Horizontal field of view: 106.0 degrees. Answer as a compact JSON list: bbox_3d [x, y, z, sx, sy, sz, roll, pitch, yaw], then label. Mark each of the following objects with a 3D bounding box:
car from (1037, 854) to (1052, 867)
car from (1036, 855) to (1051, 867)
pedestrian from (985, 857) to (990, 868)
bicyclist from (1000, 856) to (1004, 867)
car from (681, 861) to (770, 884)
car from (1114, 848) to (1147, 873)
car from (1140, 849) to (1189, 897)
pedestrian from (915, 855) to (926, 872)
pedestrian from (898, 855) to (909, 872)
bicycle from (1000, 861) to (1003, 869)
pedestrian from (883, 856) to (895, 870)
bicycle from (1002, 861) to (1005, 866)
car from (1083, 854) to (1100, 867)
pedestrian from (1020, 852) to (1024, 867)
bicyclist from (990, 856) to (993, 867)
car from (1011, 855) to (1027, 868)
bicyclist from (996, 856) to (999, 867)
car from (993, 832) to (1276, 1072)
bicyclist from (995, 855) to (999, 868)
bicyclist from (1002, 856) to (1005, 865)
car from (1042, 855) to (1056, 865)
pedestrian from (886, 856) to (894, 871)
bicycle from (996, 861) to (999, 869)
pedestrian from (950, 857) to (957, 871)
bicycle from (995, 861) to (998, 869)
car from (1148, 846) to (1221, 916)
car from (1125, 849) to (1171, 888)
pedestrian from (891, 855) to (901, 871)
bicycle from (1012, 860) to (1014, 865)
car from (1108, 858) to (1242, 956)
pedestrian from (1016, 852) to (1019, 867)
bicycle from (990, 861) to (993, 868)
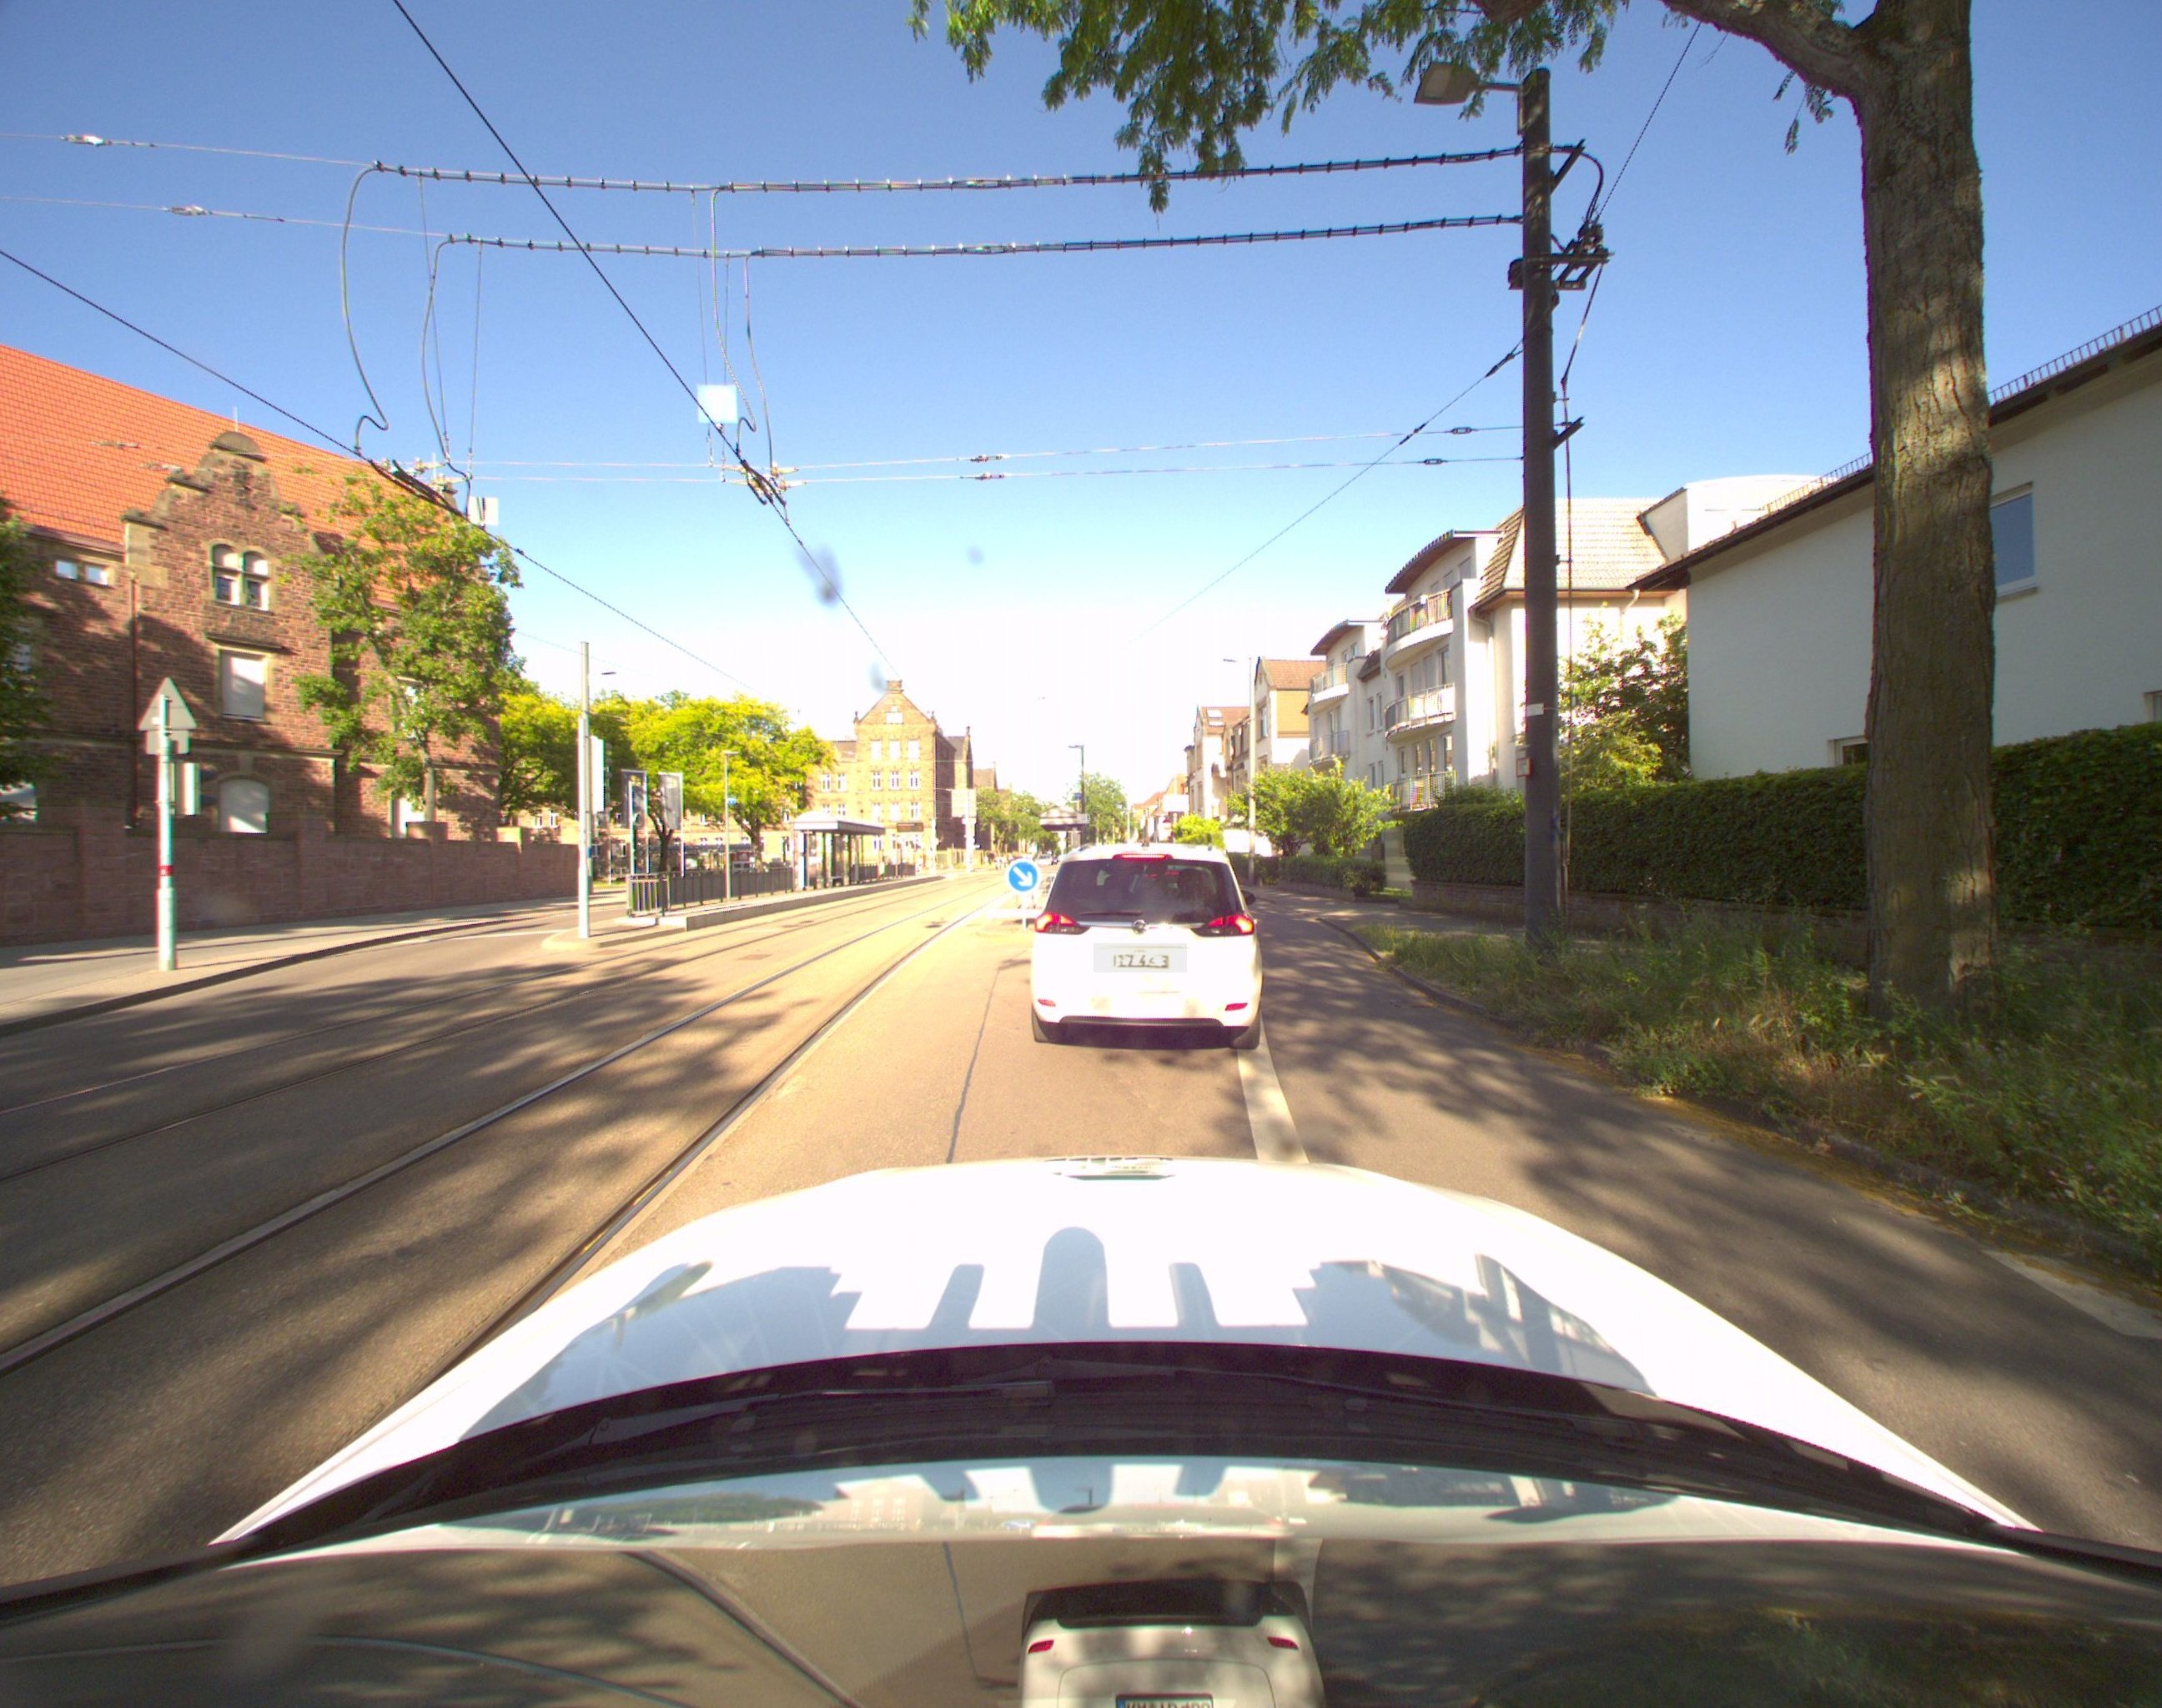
[{"bbox_3d":[-4.809,0.899,107.619,1.989,1.629,3.996,-1,0,-3],"label":"car"},{"bbox_3d":[-5.290,0.960,114.741,1.989,1.629,3.996,-1,0,-3],"label":"car"},{"bbox_3d":[-15.276,1.366,133.275,0.733,1.714,0.753,0,-1,-4],"label":"pedestrian"},{"bbox_3d":[-10.656,1.004,109.600,0.443,1.553,0.495,-1,0,-2],"label":"bicyclist"},{"bbox_3d":[-32.955,1.708,75.698,6.926,1.921,2.992,-1,0,0],"label":"car"},{"bbox_3d":[3.106,0.388,51.840,1.986,1.503,4.002,-1,0,2],"label":"car"},{"bbox_3d":[2.948,0.637,29.316,1.630,1.601,3.859,-1,0,4],"label":"car"},{"bbox_3d":[-16.411,0.940,83.317,0.892,1.684,1.029,0,-1,1],"label":"pedestrian"},{"bbox_3d":[-18.242,0.965,83.763,0.839,1.691,1.029,0,-1,1],"label":"pedestrian"},{"bbox_3d":[-10.655,1.471,109.605,0.343,0.950,0.996,0,-1,-1],"label":"bicycle"},{"bbox_3d":[-20.950,0.998,88.848,0.923,1.588,0.809,-1,-1,24],"label":"pedestrian"},{"bbox_3d":[-11.535,1.354,121.071,0.343,0.725,0.996,0,-1,-1],"label":"bicycle"},{"bbox_3d":[1.304,0.812,102.588,1.988,1.629,3.998,-1,0,-1],"label":"car"},{"bbox_3d":[-8.145,0.780,112.647,0.443,2.013,0.495,-1,0,-2],"label":"pedestrian"},{"bbox_3d":[-12.678,1.067,115.599,0.443,1.553,0.495,-1,0,-2],"label":"bicyclist"},{"bbox_3d":[-8.185,0.931,107.477,1.989,1.629,3.996,-1,0,-3],"label":"car"},{"bbox_3d":[-10.973,0.986,107.022,0.443,1.553,0.495,-1,0,-2],"label":"bicyclist"},{"bbox_3d":[0.647,0.685,7.700,1.982,1.644,4.003,0,0,8],"label":"car"},{"bbox_3d":[-10.701,0.956,103.731,0.443,1.553,0.742,-1,0,-2],"label":"bicyclist"},{"bbox_3d":[-11.536,0.980,121.077,0.343,1.320,0.404,0,-1,-2],"label":"bicyclist"},{"bbox_3d":[-5.124,0.916,130.988,1.987,1.629,4.000,-1,0,0],"label":"car"},{"bbox_3d":[-20.840,1.066,88.926,0.804,1.588,0.929,0,-1,-17],"label":"pedestrian"},{"bbox_3d":[-10.997,1.453,107.063,0.343,0.950,0.996,0,-1,-1],"label":"bicycle"},{"bbox_3d":[-15.325,1.217,97.803,0.732,1.714,0.707,0,-1,1],"label":"pedestrian"},{"bbox_3d":[-10.708,1.422,103.520,0.343,0.950,1.160,0,-1,-1],"label":"bicycle"},{"bbox_3d":[2.577,0.639,20.891,1.630,1.601,3.859,-1,0,4],"label":"car"},{"bbox_3d":[2.935,0.613,36.246,1.824,1.579,4.012,-1,0,2],"label":"car"},{"bbox_3d":[-19.170,0.947,84.297,0.799,1.588,0.934,0,-1,-1],"label":"pedestrian"},{"bbox_3d":[-10.157,1.309,121.425,0.343,0.725,0.996,0,-1,-1],"label":"bicycle"},{"bbox_3d":[1.535,0.792,14.062,1.944,1.397,4.005,-1,0,4],"label":"car"},{"bbox_3d":[-8.763,0.782,112.359,0.443,2.013,0.495,-1,0,-2],"label":"pedestrian"},{"bbox_3d":[-12.671,1.535,115.633,0.343,0.950,0.996,0,-1,-1],"label":"bicycle"}]
